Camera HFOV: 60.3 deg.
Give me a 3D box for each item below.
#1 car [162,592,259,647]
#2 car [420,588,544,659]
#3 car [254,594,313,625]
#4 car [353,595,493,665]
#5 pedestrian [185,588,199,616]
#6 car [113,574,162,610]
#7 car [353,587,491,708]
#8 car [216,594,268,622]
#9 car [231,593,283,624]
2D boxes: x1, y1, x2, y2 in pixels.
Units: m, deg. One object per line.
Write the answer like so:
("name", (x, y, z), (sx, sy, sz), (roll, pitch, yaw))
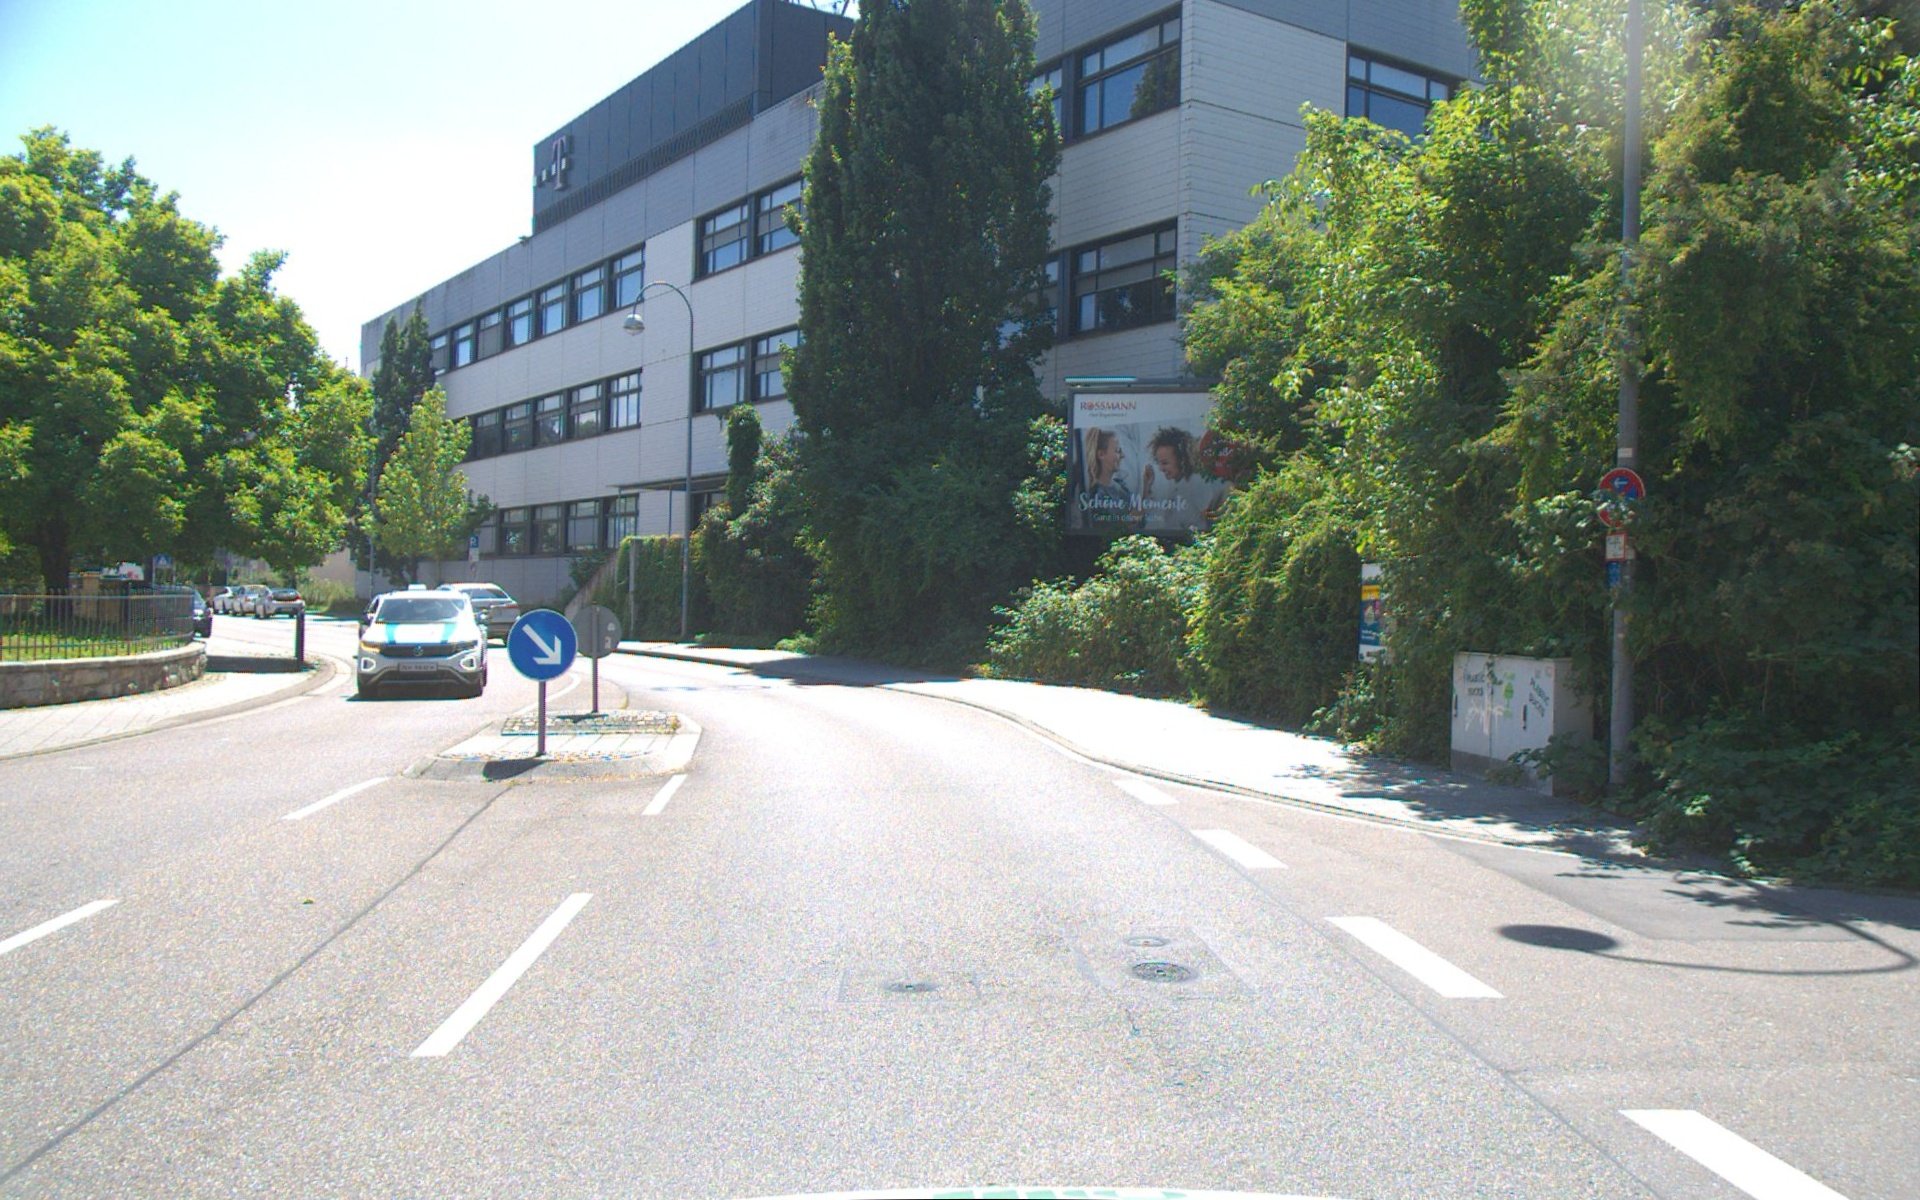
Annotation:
("car", (-22.550, 0.568, 49.700), (1.908, 1.462, 4.605), (4, -2, -33))
("car", (-13.037, 0.587, 44.941), (1.920, 1.641, 4.420), (-7, 4, -33))
("car", (-32.097, 0.440, 78.391), (1.845, 1.397, 3.953), (1, -1, -33))
("car", (-12.106, 0.636, 37.135), (1.745, 1.460, 4.248), (-1, 0, -36))
("pedestrian", (-49.026, 0.120, 105.570), (0.633, 1.789, 0.608), (1, -1, -39))
("car", (-51.699, -0.523, 103.938), (2.053, 2.235, 5.075), (-1, 1, -35))
("car", (-8.323, 0.673, 25.879), (1.842, 1.651, 4.286), (1, 1, -16))
("car", (-37.822, 0.408, 87.069), (1.711, 1.407, 4.349), (-1, 1, -34))
("car", (-35.335, 0.394, 83.077), (1.644, 1.514, 4.293), (-1, 1, -34))
